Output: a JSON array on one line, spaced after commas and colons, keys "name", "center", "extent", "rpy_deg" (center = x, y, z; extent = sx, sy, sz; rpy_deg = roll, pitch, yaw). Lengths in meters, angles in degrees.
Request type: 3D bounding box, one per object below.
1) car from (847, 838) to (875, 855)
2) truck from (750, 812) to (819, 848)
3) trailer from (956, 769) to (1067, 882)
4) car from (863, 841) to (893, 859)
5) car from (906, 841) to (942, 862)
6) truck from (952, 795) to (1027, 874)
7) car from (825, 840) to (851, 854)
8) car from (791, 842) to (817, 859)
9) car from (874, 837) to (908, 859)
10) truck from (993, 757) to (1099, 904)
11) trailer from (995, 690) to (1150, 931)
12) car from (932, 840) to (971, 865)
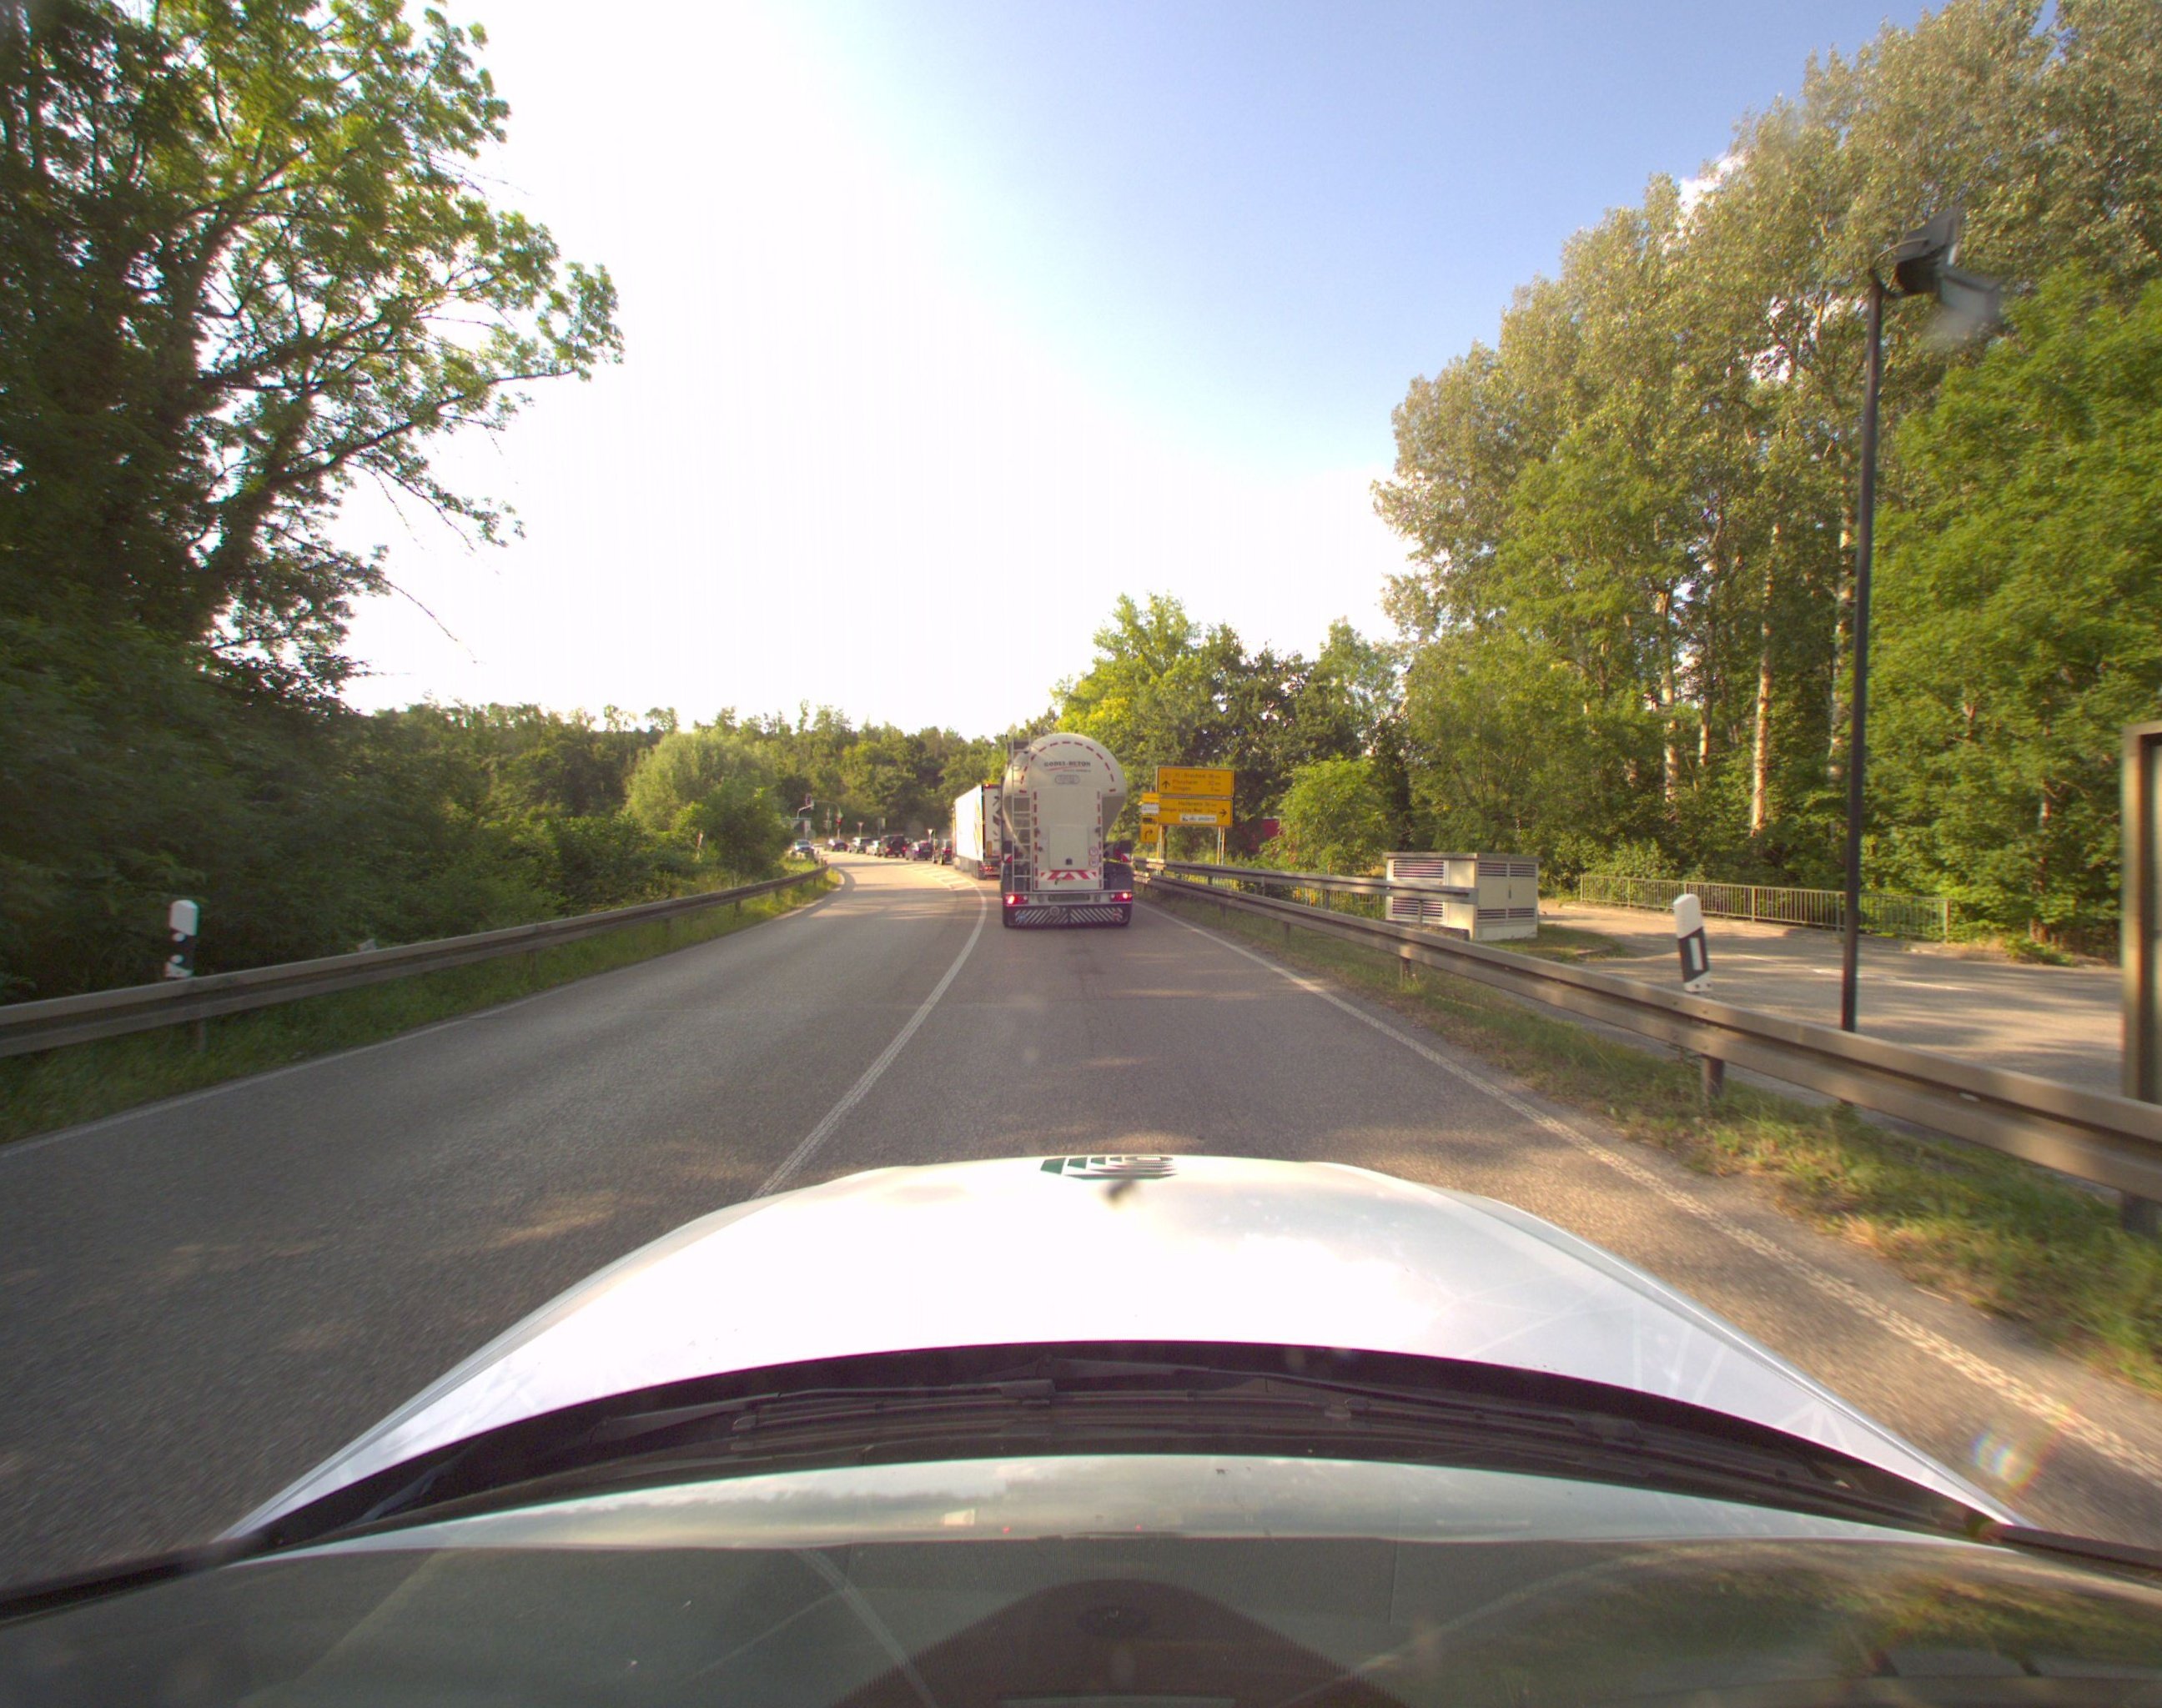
[{"name": "car", "center": [-23.022, -0.801, 85.197], "extent": [1.878, 1.595, 3.963], "rpy_deg": [1, 0, -29]}, {"name": "truck", "center": [-40.192, -3.191, 110.963], "extent": [2.987, 4.584, 10.291], "rpy_deg": [1, 0, 19]}, {"name": "trailer", "center": [-3.730, -1.147, 39.193], "extent": [3.549, 4.513, 12.927], "rpy_deg": [0, 0, -13]}, {"name": "car", "center": [-19.736, -0.405, 79.216], "extent": [1.879, 1.683, 3.963], "rpy_deg": [1, 0, -29]}, {"name": "car", "center": [-12.386, -0.226, 64.066], "extent": [1.877, 1.564, 3.968], "rpy_deg": [-2, 1, -25]}, {"name": "truck", "center": [-5.292, -1.031, 45.860], "extent": [3.454, 4.086, 6.461], "rpy_deg": [0, 0, -13]}, {"name": "car", "center": [-27.565, -0.835, 92.332], "extent": [1.879, 1.565, 3.962], "rpy_deg": [1, 0, -30]}, {"name": "car", "center": [-27.303, -0.355, 80.237], "extent": [1.878, 1.564, 3.965], "rpy_deg": [-2, 1, -27]}, {"name": "car", "center": [-16.857, -0.576, 72.252], "extent": [1.968, 1.851, 3.964], "rpy_deg": [-2, 2, -28]}, {"name": "truck", "center": [-1.275, -0.677, 25.466], "extent": [2.822, 4.034, 5.879], "rpy_deg": [-1, 0, -7]}, {"name": "trailer", "center": [-0.633, -0.844, 20.005], "extent": [2.883, 4.454, 9.586], "rpy_deg": [0, 0, -6]}, {"name": "car", "center": [-8.838, -0.096, 55.227], "extent": [1.874, 1.628, 3.973], "rpy_deg": [1, 0, -20]}]
